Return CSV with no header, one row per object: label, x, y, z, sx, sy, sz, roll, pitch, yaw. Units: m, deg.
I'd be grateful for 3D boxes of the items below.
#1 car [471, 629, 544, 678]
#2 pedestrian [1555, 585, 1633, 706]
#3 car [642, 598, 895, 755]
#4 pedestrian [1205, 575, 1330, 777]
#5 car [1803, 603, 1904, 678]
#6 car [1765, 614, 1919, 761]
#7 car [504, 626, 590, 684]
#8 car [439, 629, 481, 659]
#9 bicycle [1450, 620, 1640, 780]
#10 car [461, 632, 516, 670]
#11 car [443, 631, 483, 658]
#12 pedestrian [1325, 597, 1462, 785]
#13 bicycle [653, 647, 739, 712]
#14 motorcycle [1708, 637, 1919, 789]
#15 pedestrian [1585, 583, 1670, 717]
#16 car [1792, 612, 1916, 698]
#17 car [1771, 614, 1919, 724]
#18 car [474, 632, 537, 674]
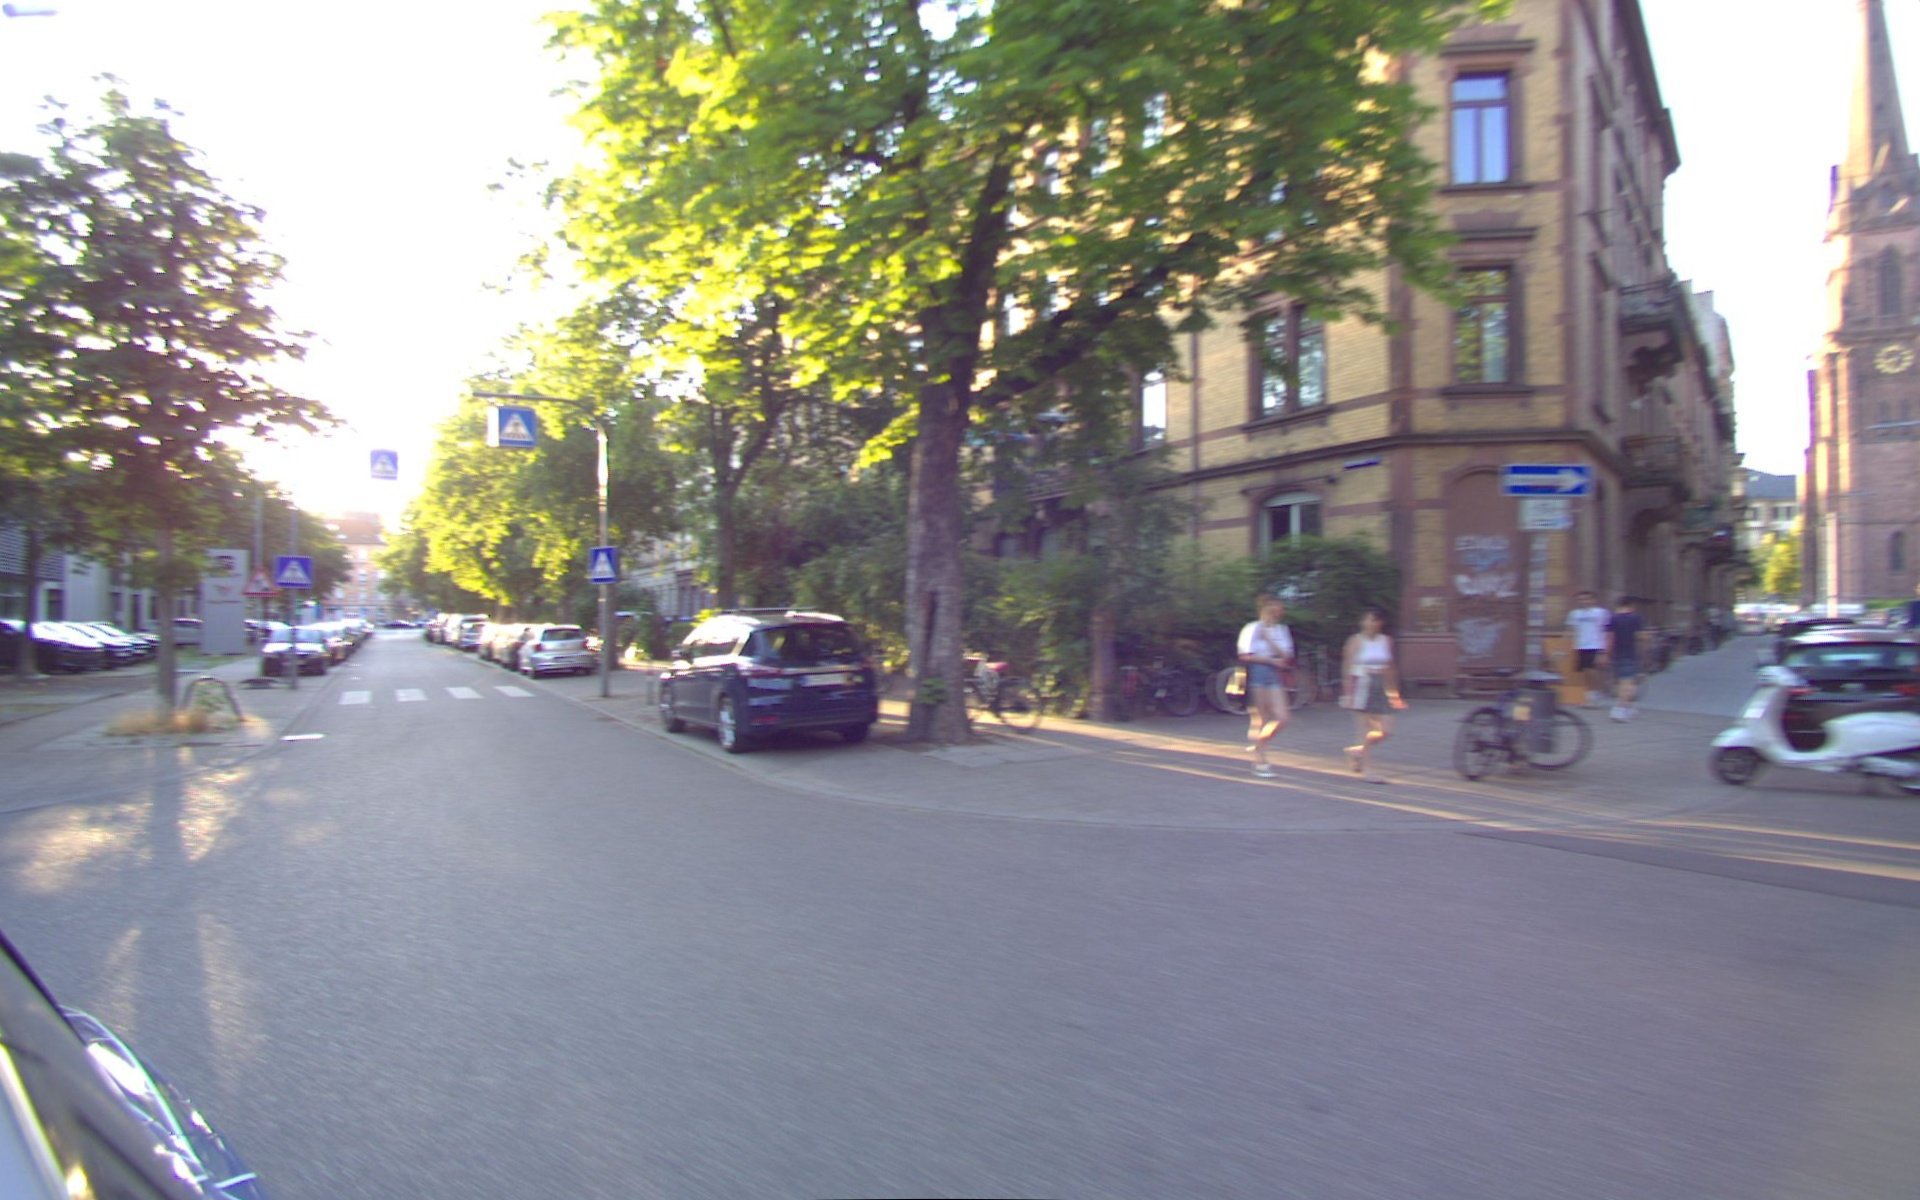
car,-14.980,1.738,33.391,1.590,1.452,4.323,-1,-1,-32
pedestrian,10.098,0.690,16.123,0.911,1.837,0.782,-1,2,-41
car,-2.751,0.913,13.557,1.840,1.700,4.605,-1,-1,-31
pedestrian,2.995,0.706,9.852,1.007,1.849,0.679,-1,-2,34
car,20.720,0.937,23.591,1.578,1.584,4.064,-3,-3,40
car,10.632,0.929,11.810,1.786,1.470,3.964,-3,-3,40
car,-11.973,1.549,29.204,1.591,1.452,3.764,-2,-1,-33
car,-26.490,2.318,53.589,1.590,1.452,4.116,-1,-1,-32
bicycle,5.528,0.903,9.549,1.769,1.403,0.520,0,0,-19
car,-19.710,2.103,42.253,1.590,1.452,4.116,-1,-1,-32
car,-28.414,2.522,57.798,1.590,1.452,4.116,-1,-1,-32
pedestrian,4.049,0.810,9.460,1.050,1.643,0.679,-1,-2,34
bicycle,-4.662,1.373,17.814,0.597,1.044,1.809,-2,-1,-45
motorcycle,7.916,0.970,9.065,0.464,1.266,1.866,1,-3,-32
pedestrian,9.533,0.689,14.470,0.779,1.837,0.690,-1,2,-28
car,17.127,1.023,19.523,1.578,1.470,4.365,-3,-3,40
car,13.633,1.001,15.644,1.578,1.470,4.365,-3,-3,40
car,-17.154,1.951,38.074,1.590,1.452,4.323,-1,-1,-32
